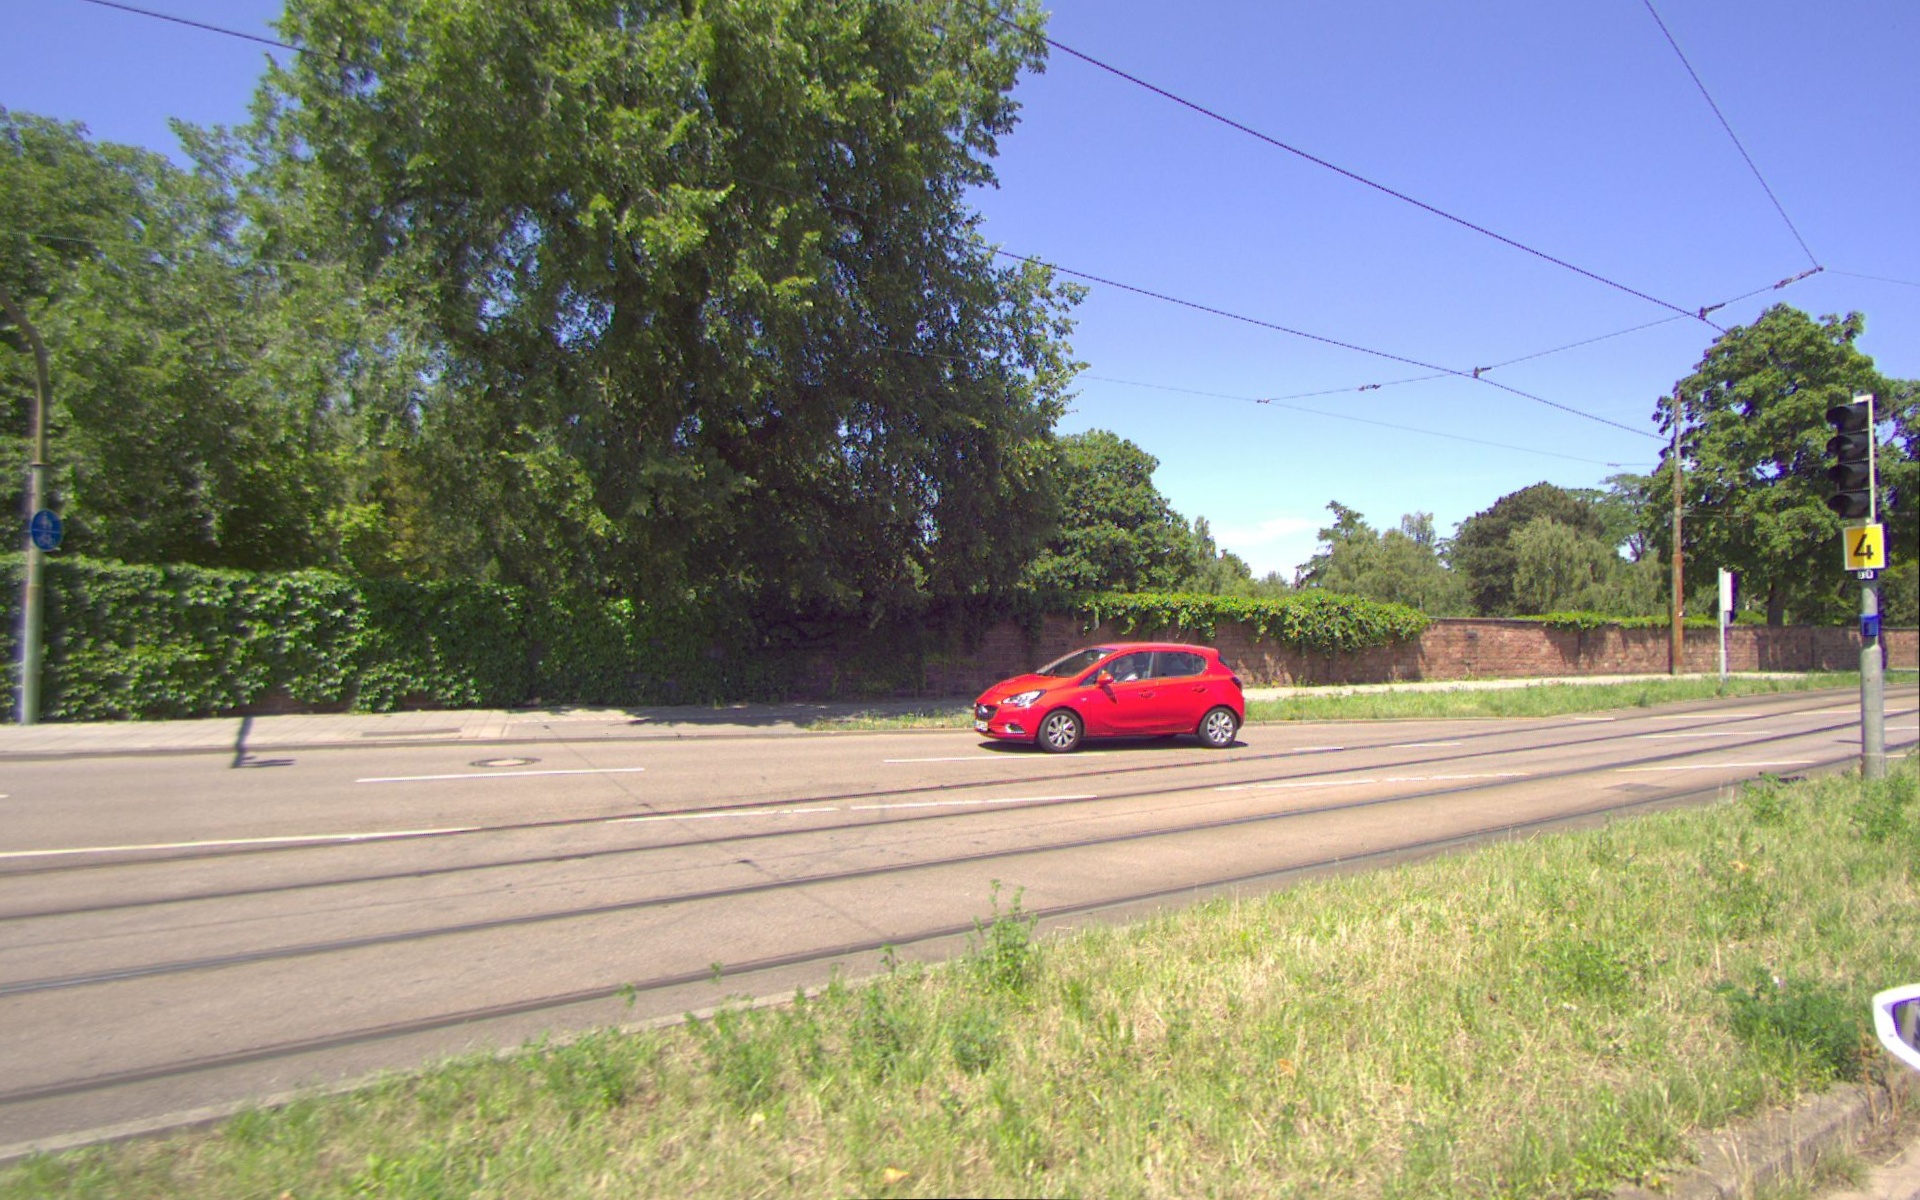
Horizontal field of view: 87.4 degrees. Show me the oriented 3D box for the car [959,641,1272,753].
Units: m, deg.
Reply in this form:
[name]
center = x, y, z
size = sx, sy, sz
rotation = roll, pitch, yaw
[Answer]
[car]
center = 2.249, 1.328, 14.600
size = 4.216, 1.432, 1.704
rotation = 1, -1, -20
